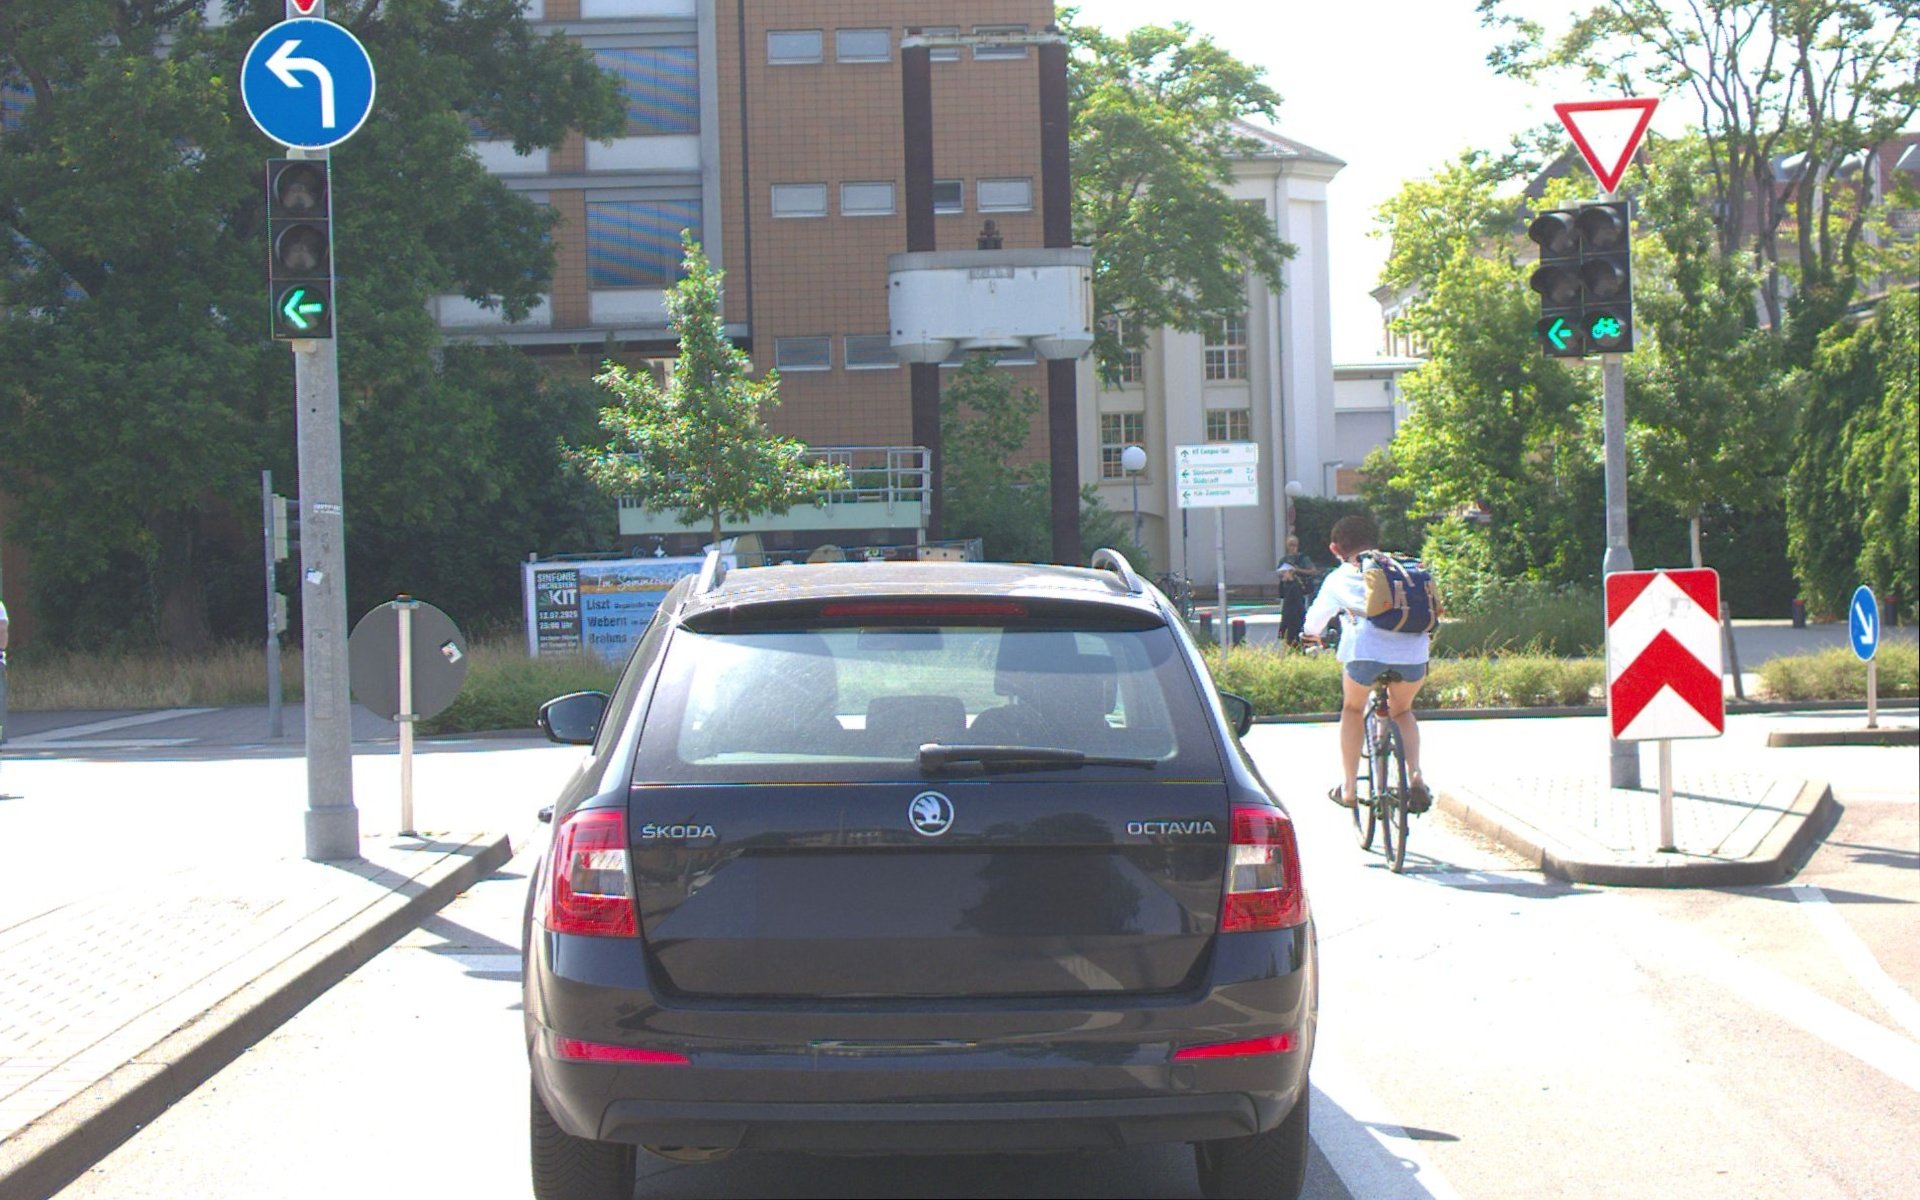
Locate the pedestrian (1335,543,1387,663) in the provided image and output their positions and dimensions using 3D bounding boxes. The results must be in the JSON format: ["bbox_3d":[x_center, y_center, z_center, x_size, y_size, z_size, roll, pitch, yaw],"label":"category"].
[{"bbox_3d":[6.404,0.042,54.980,0.637,1.868,0.796,-3,1,-1],"label":"pedestrian"}]

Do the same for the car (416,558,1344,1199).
[{"bbox_3d":[-0.160,0.619,8.515,1.780,1.438,3.818,0,1,0],"label":"car"}]

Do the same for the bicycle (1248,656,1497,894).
[{"bbox_3d":[1.913,0.792,16.229,0.596,0.928,2.029,0,3,-10],"label":"bicycle"}]

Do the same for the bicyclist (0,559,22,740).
[{"bbox_3d":[-7.758,0.394,26.880,0.539,1.412,1.030,-3,0,-2],"label":"bicyclist"}]

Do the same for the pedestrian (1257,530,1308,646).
[{"bbox_3d":[5.274,-0.196,56.223,0.597,1.868,0.638,-2,1,23],"label":"pedestrian"}]

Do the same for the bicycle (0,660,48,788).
[{"bbox_3d":[-7.756,0.975,26.982,0.704,0.974,2.031,-2,-1,-2],"label":"bicycle"}]

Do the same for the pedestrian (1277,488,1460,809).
[{"bbox_3d":[1.912,0.218,16.198,0.583,1.461,1.014,0,0,-10],"label":"pedestrian"}]

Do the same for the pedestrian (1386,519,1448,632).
[{"bbox_3d":[7.753,-0.414,58.364,0.795,1.868,0.638,-3,1,25],"label":"pedestrian"}]
